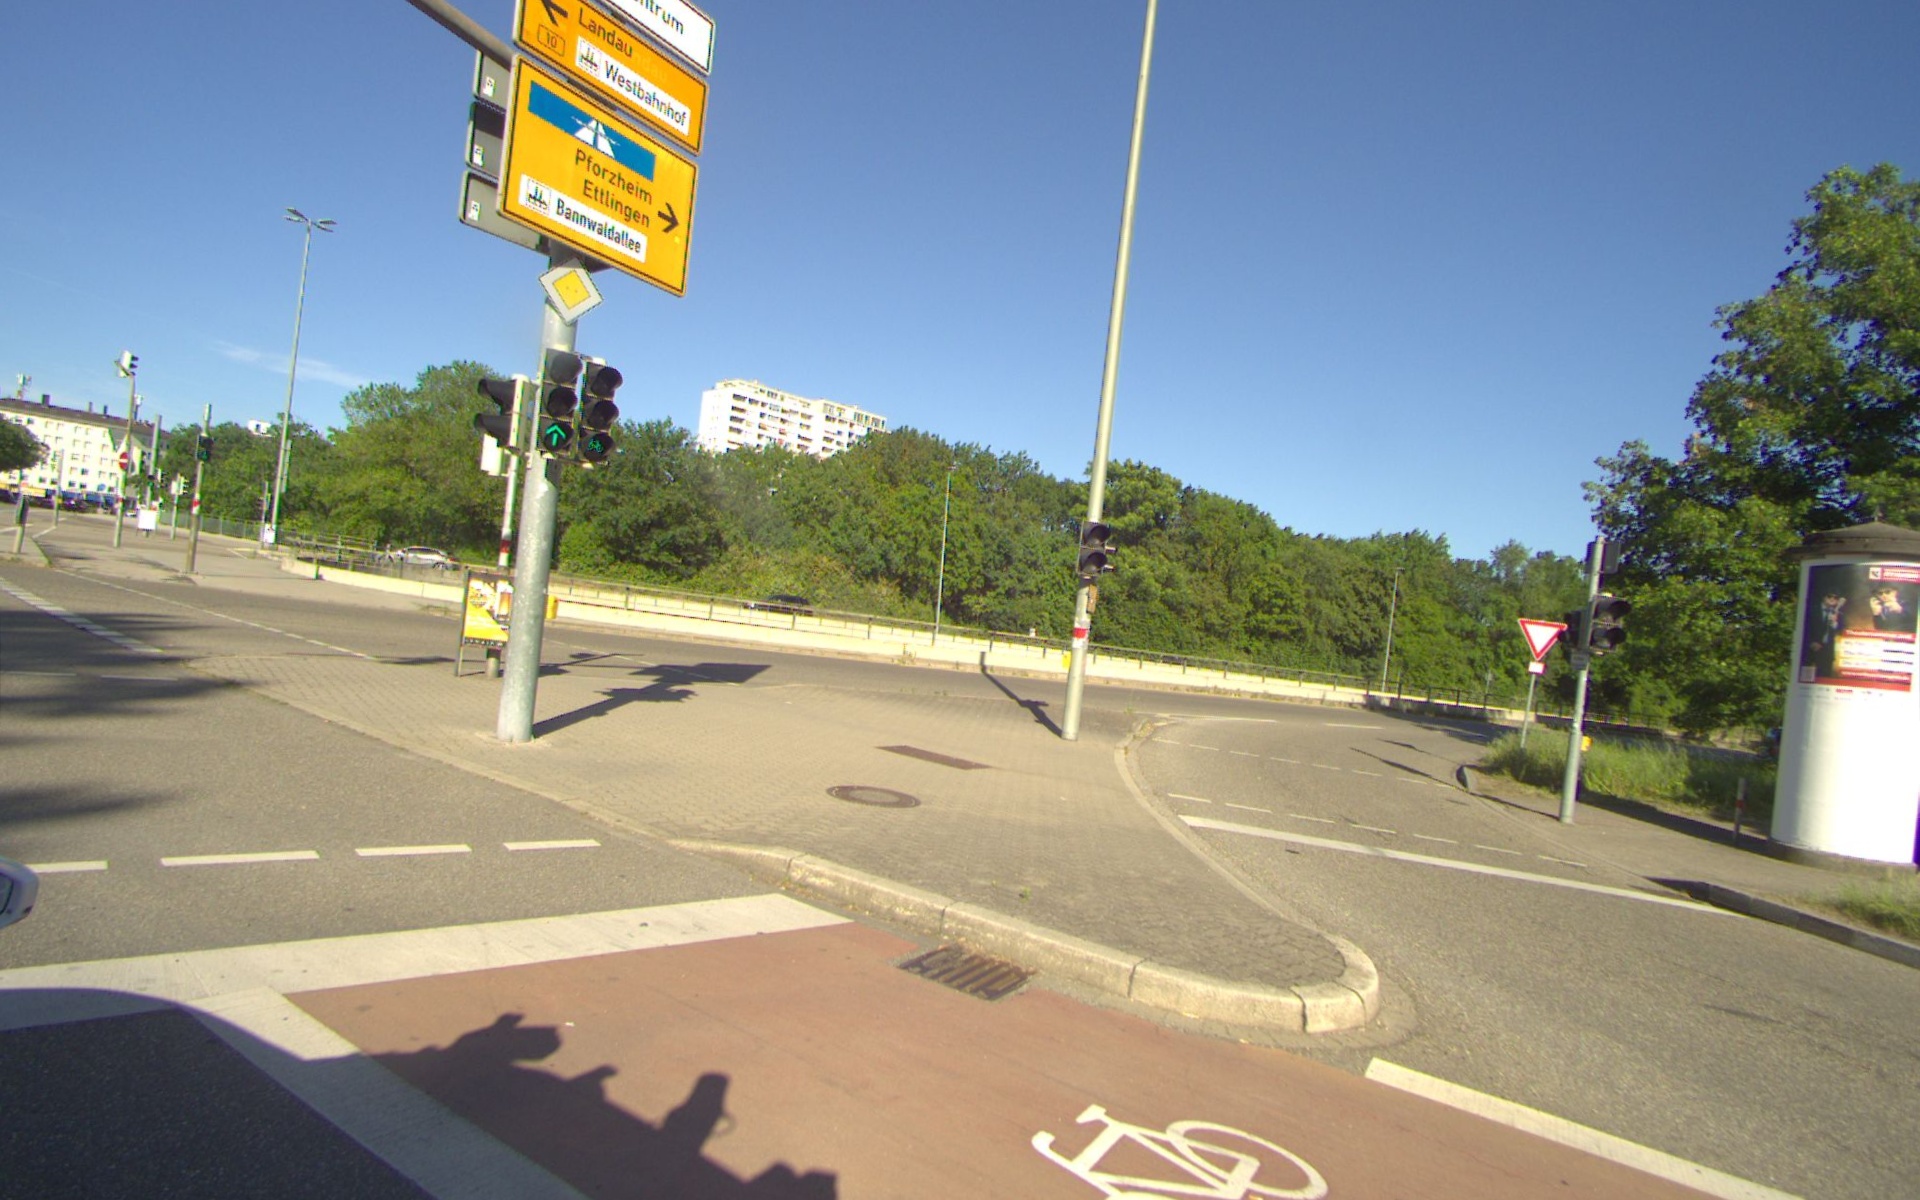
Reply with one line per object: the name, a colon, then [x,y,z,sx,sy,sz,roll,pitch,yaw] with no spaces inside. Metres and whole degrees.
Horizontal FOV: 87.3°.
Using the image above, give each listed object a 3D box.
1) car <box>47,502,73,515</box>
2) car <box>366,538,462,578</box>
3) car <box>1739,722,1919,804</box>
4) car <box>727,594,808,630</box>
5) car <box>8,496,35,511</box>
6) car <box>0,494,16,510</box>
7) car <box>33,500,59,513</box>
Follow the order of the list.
car: [-148.833,-15.112,166.397,1.927,1.547,4.074,7,-1,-24]
car: [-29.747,-2.289,54.957,4.183,1.571,1.854,8,0,-18]
car: [25.228,4.661,29.077,3.712,1.580,2.000,7,0,22]
car: [-12.272,0.767,64.191,4.628,1.636,1.847,8,0,-30]
car: [-117.737,-12.056,126.270,1.936,1.547,4.055,8,-1,-38]
car: [-106.777,-10.998,112.064,1.936,1.547,4.054,8,-1,-38]
car: [-139.937,-14.329,154.055,1.930,1.547,4.066,7,-1,-29]
